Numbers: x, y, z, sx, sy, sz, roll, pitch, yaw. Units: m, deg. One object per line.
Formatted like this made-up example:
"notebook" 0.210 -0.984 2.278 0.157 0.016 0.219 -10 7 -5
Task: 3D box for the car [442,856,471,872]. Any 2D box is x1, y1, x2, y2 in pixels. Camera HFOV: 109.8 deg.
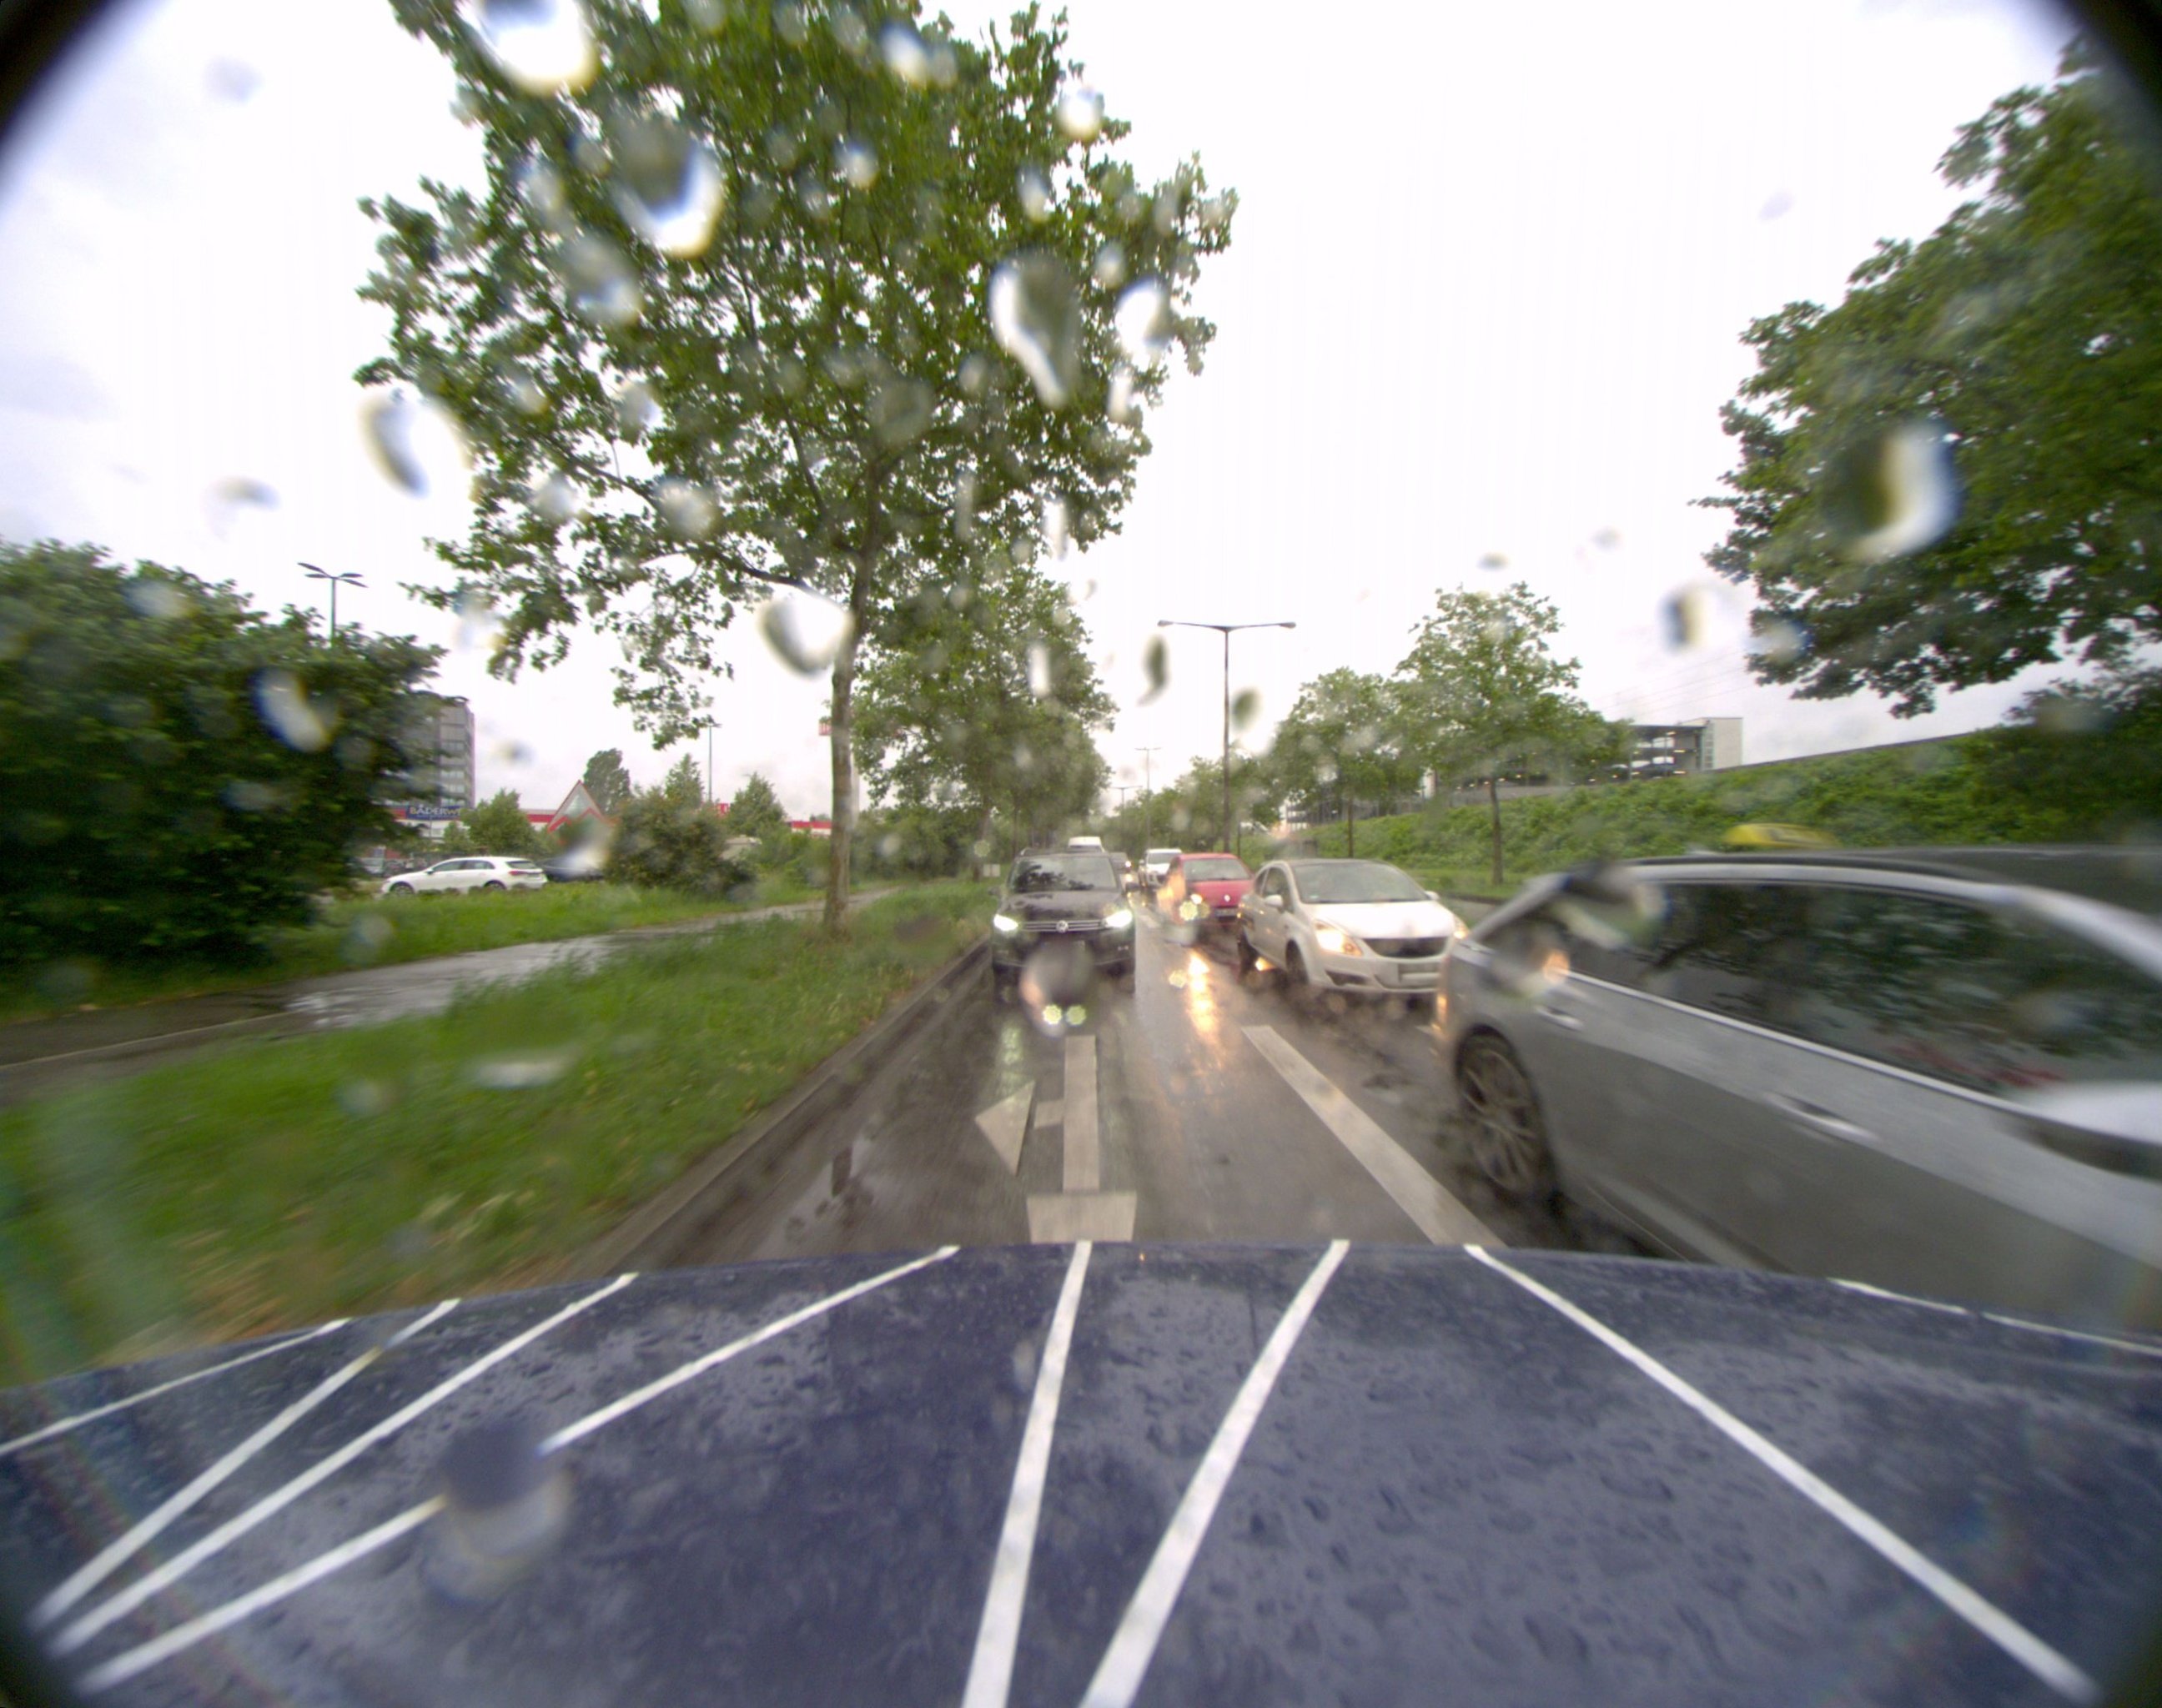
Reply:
"car" -78.262 1.239 95.324 1.933 1.866 4.263 0 1 -27

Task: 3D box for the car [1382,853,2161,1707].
"car" 2.489 0.819 1.564 1.774 1.565 4.820 -2 0 0

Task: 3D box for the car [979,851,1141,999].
"car" -0.283 0.796 10.909 1.771 1.596 4.626 -2 1 -1

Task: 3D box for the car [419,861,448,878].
"car" -68.625 1.599 80.600 2.006 1.667 4.261 -1 1 -36

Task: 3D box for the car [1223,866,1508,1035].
"car" 2.910 0.887 8.761 1.683 1.369 4.010 -2 0 -1

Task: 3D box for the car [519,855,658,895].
"car" -19.756 0.823 30.616 4.272 1.543 1.929 0 1 -4

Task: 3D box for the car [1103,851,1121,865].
"car" 3.534 0.492 86.905 1.715 1.494 3.999 -2 0 -2

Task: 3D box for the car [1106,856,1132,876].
"car" 2.977 0.946 60.921 1.715 1.494 3.999 -2 0 -2

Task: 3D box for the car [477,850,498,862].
"car" -97.587 0.335 125.050 1.933 1.866 4.263 0 1 -27

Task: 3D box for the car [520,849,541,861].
"car" -81.435 0.083 112.509 1.933 1.716 4.263 0 1 -28

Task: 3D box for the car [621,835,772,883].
"car" -19.485 0.225 38.856 6.425 2.349 2.390 0 1 -8

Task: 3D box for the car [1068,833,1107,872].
"car" 0.387 -0.103 42.791 1.998 2.002 5.131 -2 1 1

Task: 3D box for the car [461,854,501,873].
"car" -50.535 0.797 64.113 1.933 1.543 4.263 0 1 -28

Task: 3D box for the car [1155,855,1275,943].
"car" 2.566 0.797 15.442 1.724 1.456 4.092 -2 0 1

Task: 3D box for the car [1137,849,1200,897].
"car" 3.222 0.666 28.762 1.831 1.602 4.147 -2 0 0

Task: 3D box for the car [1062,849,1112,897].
"car" 0.224 0.705 30.666 1.831 1.737 4.147 -2 0 0

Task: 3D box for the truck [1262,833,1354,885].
"truck" 11.069 0.197 37.718 2.480 2.351 6.866 0 0 0

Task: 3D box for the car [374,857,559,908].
"car" -19.633 0.889 24.439 4.272 1.543 1.929 0 1 -4

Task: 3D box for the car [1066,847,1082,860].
"car" -1.115 -0.070 118.755 1.726 2.002 3.996 -3 1 -10
